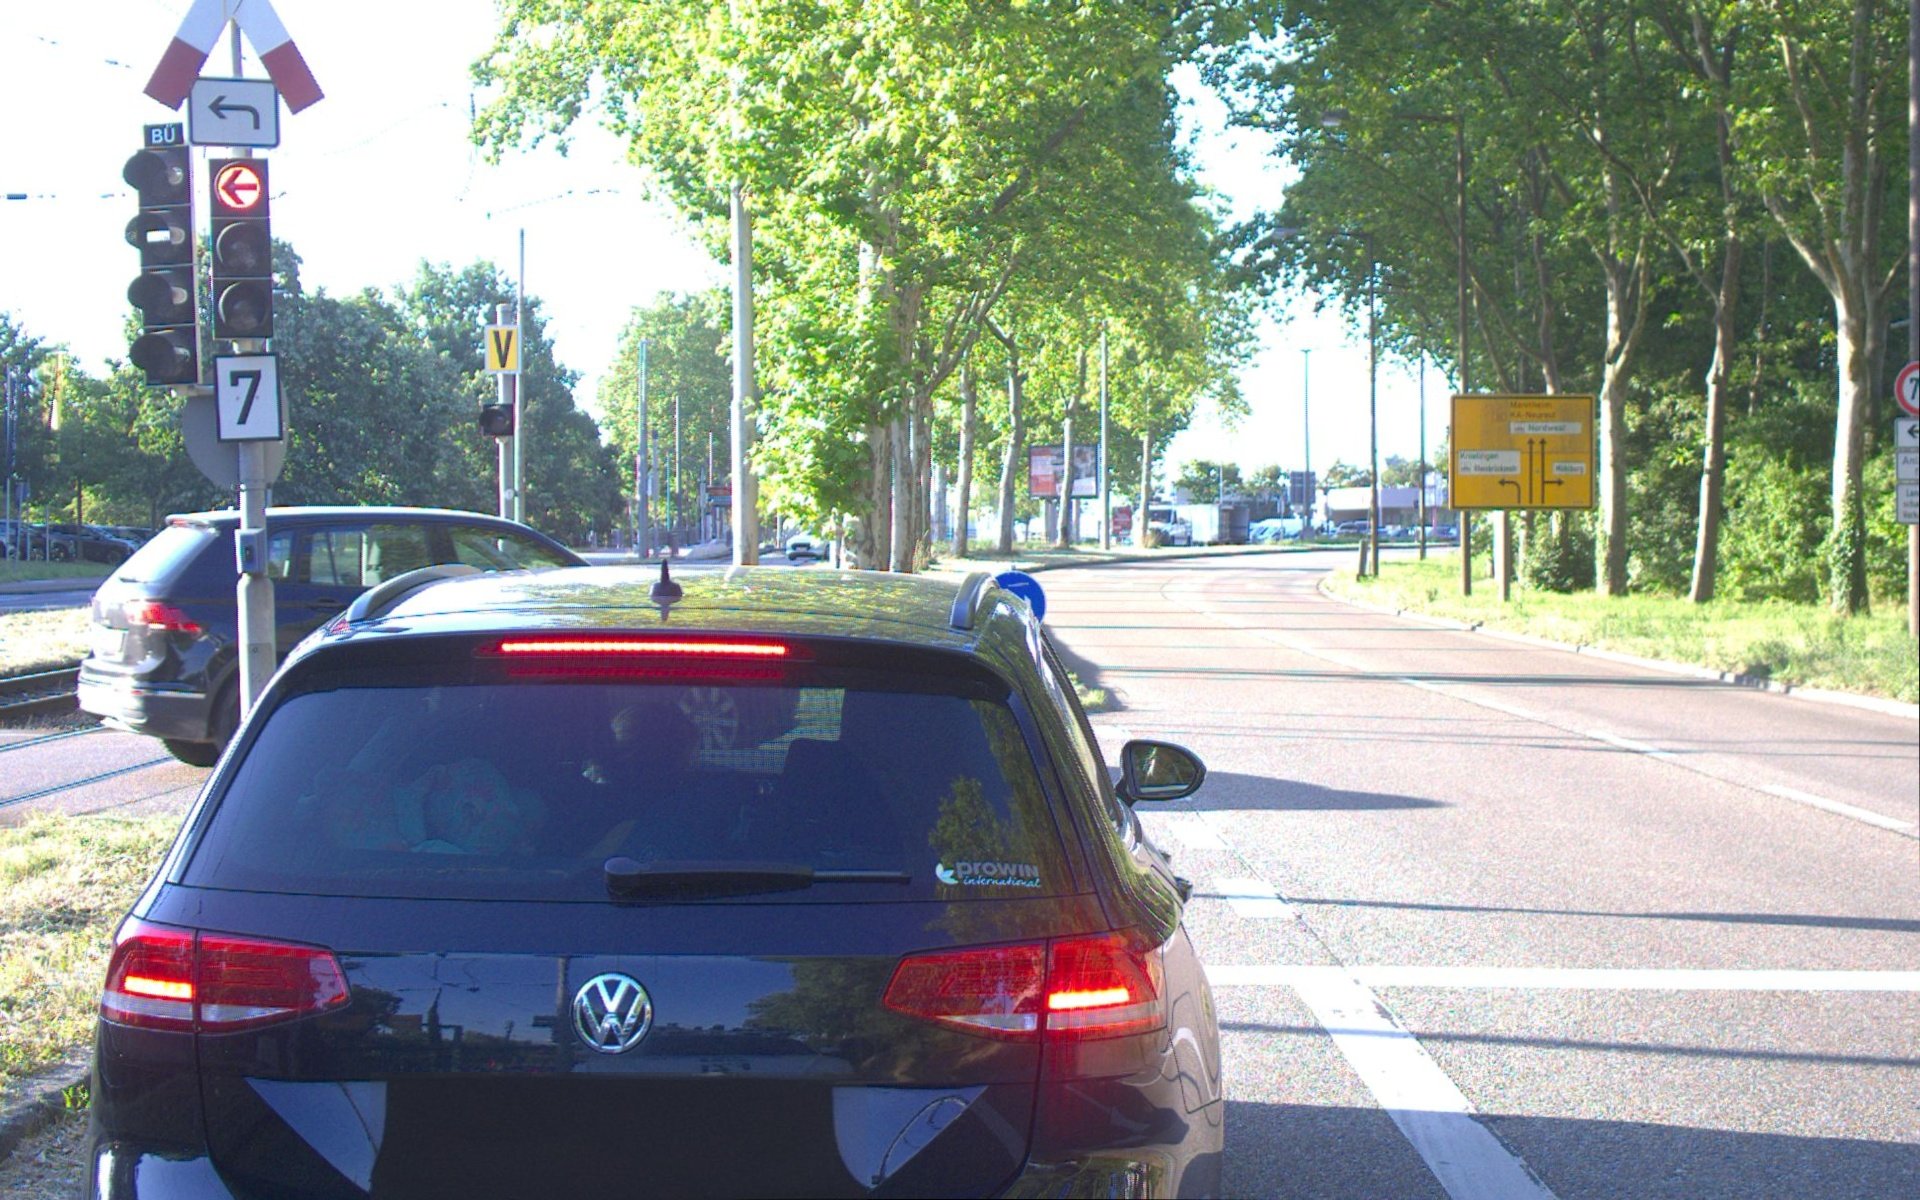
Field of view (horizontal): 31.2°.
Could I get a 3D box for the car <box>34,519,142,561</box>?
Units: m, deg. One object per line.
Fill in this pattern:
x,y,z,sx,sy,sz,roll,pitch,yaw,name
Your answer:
-35.163,-2.426,138.761,3.986,1.615,1.744,1,1,-5,car

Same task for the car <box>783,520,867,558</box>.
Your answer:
-5.456,-2.478,139.107,1.864,1.476,4.087,1,1,22,car

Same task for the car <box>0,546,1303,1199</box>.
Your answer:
-0.478,0.646,6.422,1.795,1.459,3.583,1,1,-1,car

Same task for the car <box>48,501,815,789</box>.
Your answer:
-3.281,0.213,21.397,4.355,1.629,1.879,-1,1,-25,car

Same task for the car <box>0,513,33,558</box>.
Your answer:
-35.914,-2.375,125.013,3.986,1.615,1.744,1,1,-5,car

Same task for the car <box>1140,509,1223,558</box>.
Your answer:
11.381,-3.403,176.296,2.098,2.453,5.844,2,2,27,car

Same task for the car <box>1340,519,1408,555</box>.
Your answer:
24.302,-3.673,201.521,2.099,2.058,4.871,2,2,31,car

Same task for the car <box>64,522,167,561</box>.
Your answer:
-35.822,-2.468,145.918,3.986,1.615,1.744,1,1,-5,car
